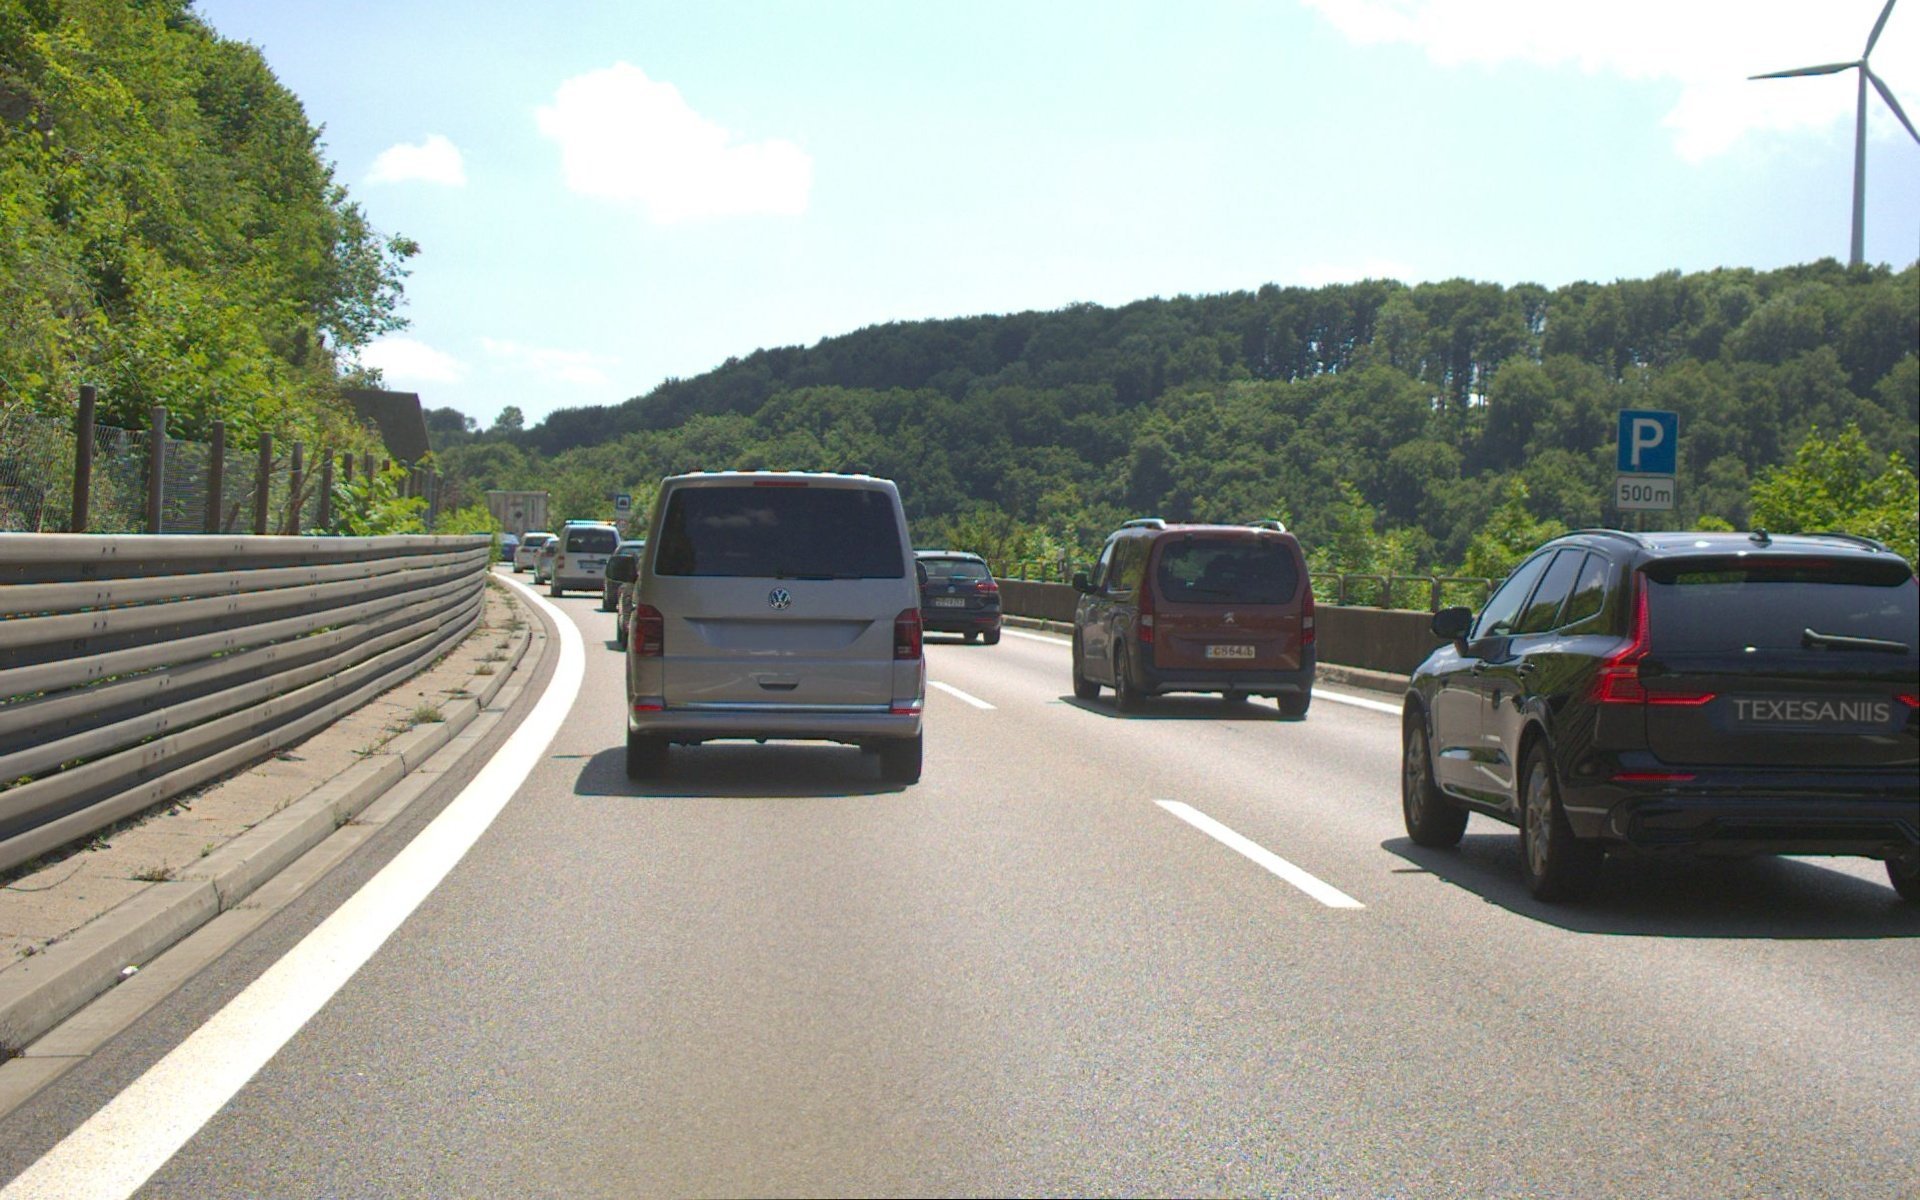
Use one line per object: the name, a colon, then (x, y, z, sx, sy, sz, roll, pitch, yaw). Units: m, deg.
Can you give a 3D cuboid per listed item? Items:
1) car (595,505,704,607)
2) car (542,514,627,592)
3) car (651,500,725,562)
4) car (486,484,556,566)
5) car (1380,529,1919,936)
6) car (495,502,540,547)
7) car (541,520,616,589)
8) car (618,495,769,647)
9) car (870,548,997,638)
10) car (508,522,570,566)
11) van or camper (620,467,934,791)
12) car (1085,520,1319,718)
car: (-6.397, -0.904, 70.554, 1.993, 2.007, 4.001, 1, 0, -8)
car: (-9.376, -1.183, 85.632, 1.993, 1.811, 4.001, 2, 1, -7)
car: (-9.052, -2.273, 114.035, 1.993, 2.007, 4.001, 1, 0, -11)
car: (-26.820, -4.560, 210.451, 4.042, 4.855, 10.111, 1, 1, -6)
car: (3.319, 0.501, 16.179, 1.834, 1.628, 4.663, 1, 1, -3)
car: (-20.403, -3.454, 158.452, 1.993, 2.007, 4.001, 1, 0, -8)
car: (-11.188, -1.355, 100.702, 1.993, 1.908, 4.001, 2, 1, -8)
car: (-3.750, -0.417, 47.976, 1.993, 2.007, 4.001, 1, 1, -5)
car: (-0.456, -0.140, 55.083, 1.768, 1.371, 3.593, 1, 1, -5)
car: (-16.223, -2.157, 132.180, 2.142, 1.601, 5.079, 2, 1, -9)
van or camper: (-1.300, 0.161, 22.959, 1.875, 1.943, 4.294, 1, 0, -5)
car: (2.284, 0.155, 33.560, 1.833, 1.778, 4.676, 1, 0, -1)
